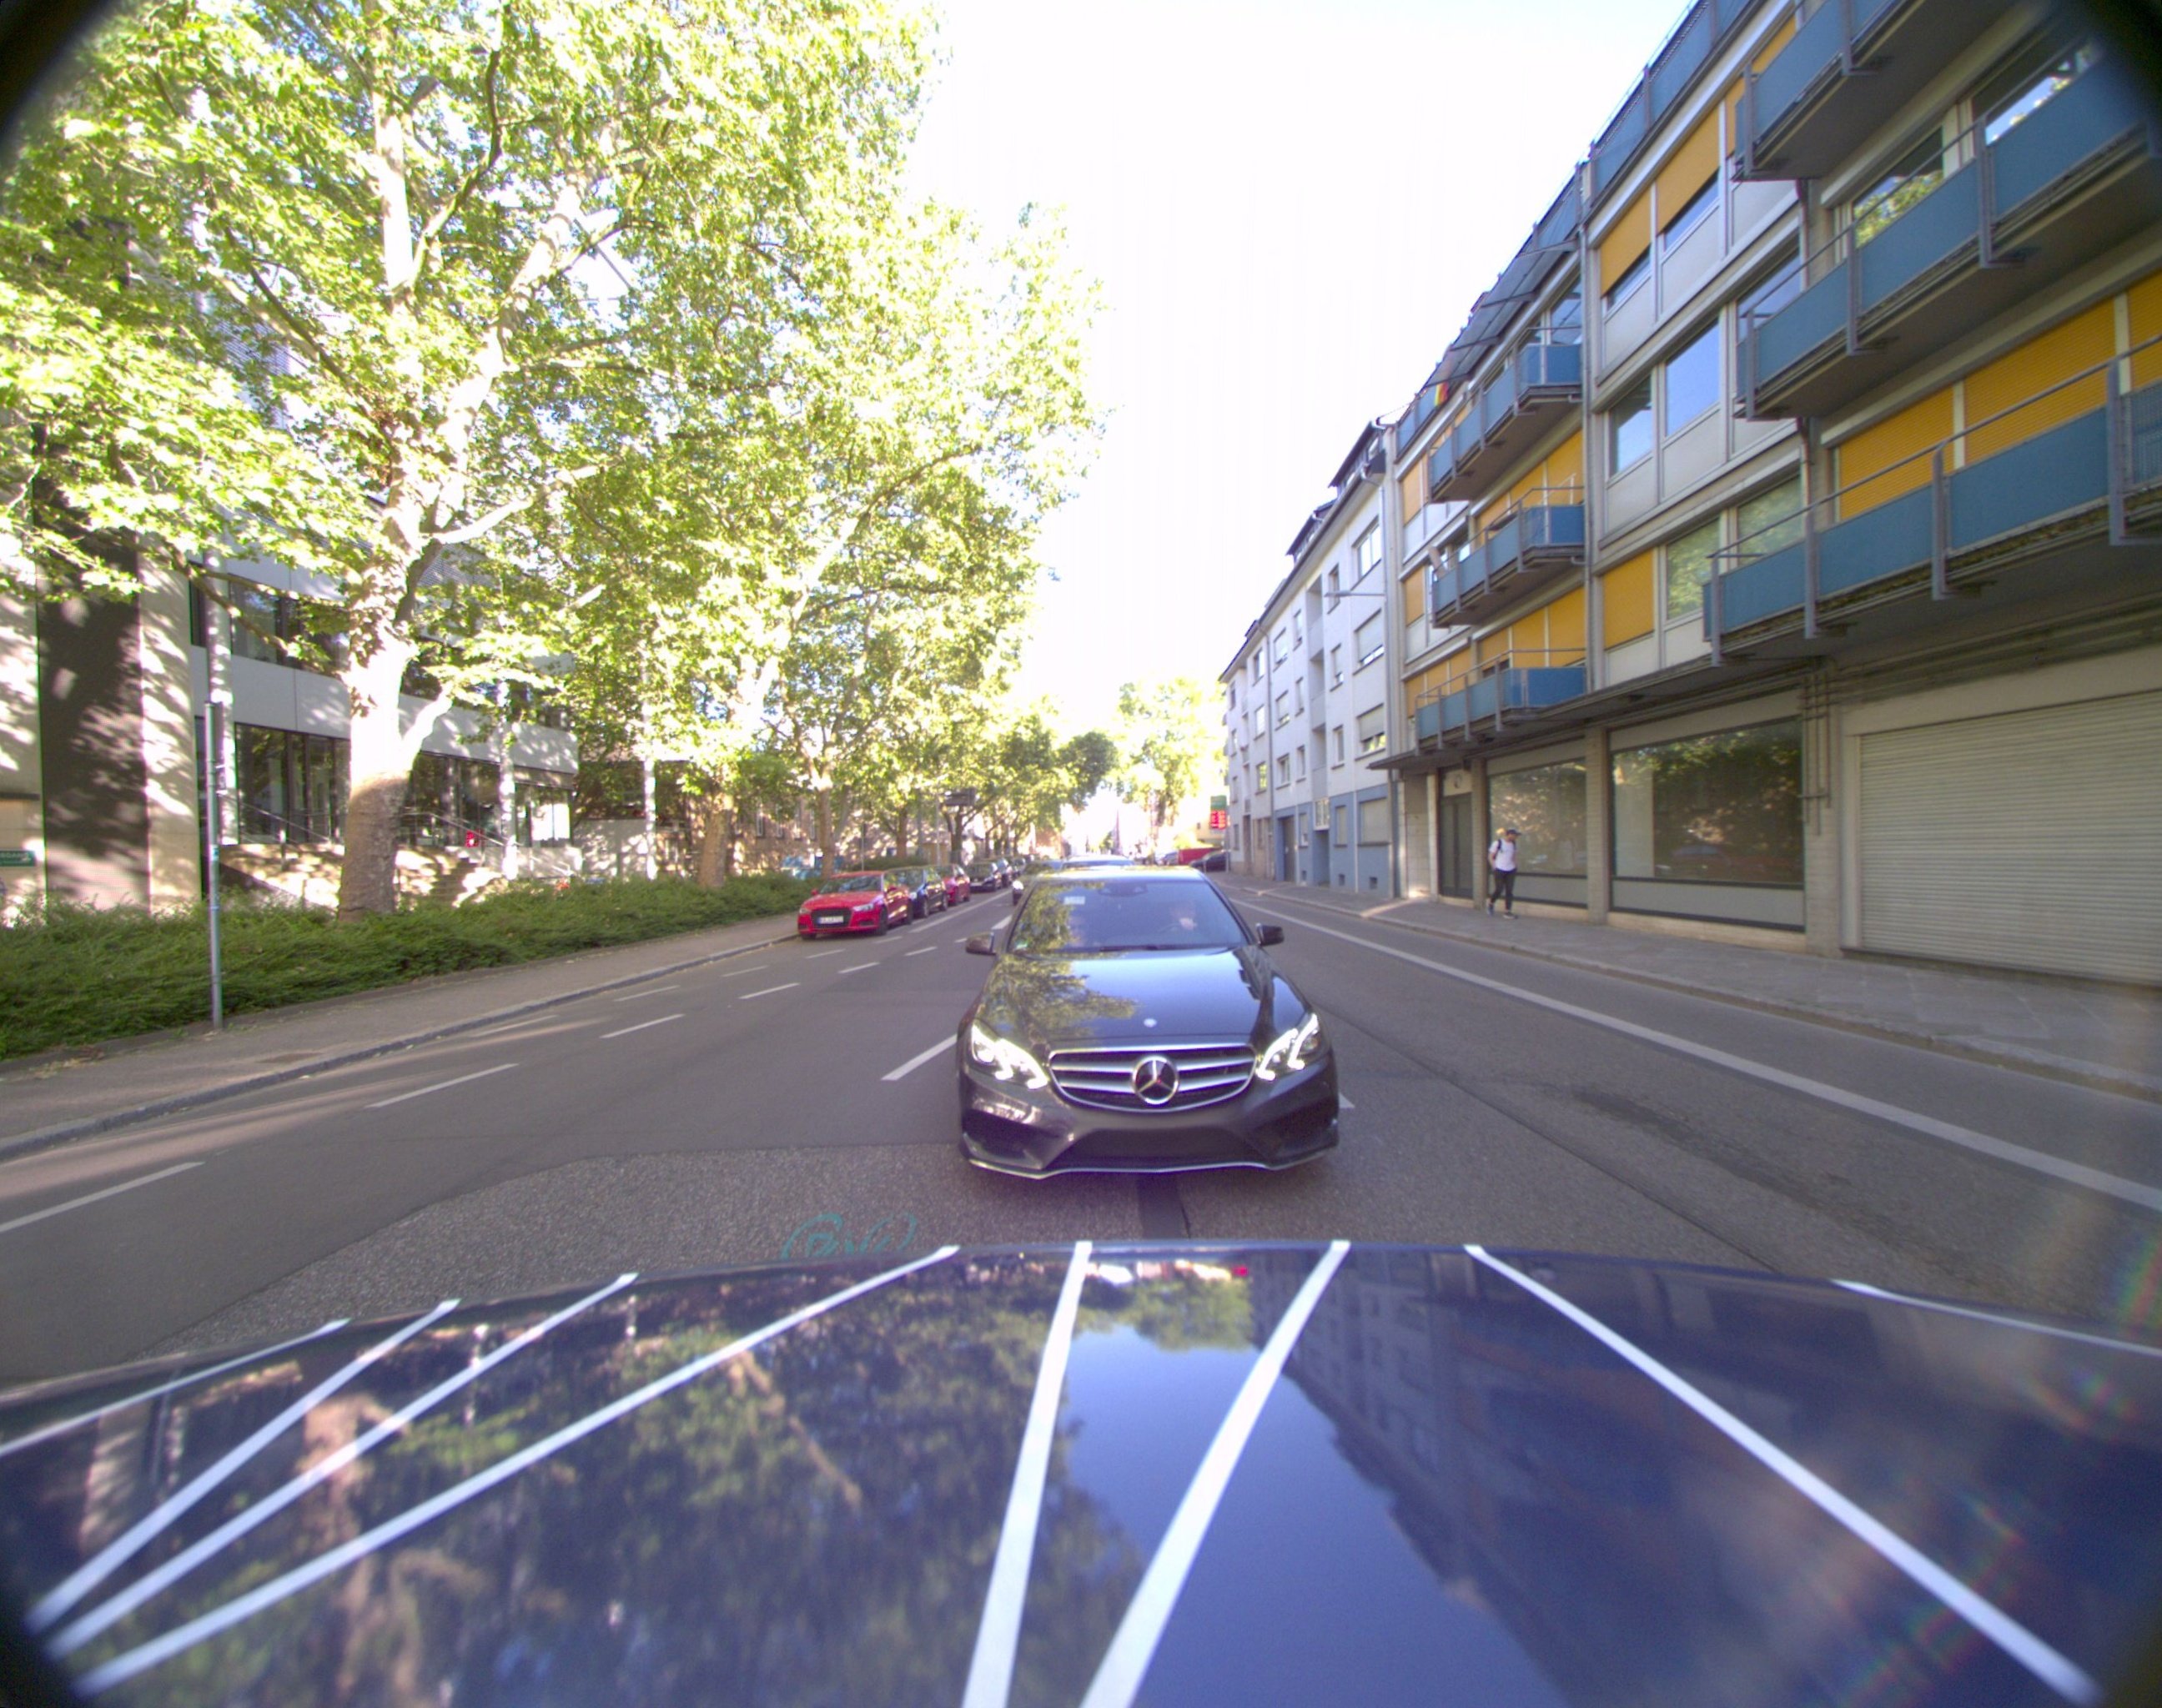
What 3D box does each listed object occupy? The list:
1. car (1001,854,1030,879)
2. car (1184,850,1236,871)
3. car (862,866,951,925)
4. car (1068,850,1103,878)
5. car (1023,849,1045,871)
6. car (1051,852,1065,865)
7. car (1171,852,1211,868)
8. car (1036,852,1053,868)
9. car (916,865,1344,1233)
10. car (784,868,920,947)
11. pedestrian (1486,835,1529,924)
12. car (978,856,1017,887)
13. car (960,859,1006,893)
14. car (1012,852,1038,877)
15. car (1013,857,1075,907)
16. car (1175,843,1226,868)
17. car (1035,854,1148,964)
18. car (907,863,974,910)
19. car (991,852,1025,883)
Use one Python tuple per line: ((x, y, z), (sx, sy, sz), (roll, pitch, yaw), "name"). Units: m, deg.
((-4.664, 0.836, 54.672), (1.635, 1.644, 3.845), (-3, 0, 1), "car")
((9.916, 0.458, 58.681), (3.670, 1.403, 1.636), (-3, 0, 0), "car")
((-5.012, 1.145, 22.341), (1.635, 1.455, 3.740), (-3, 0, 1), "car")
((0.271, 0.550, 44.289), (1.829, 1.455, 4.098), (-3, 0, 1), "car")
((-4.347, 0.552, 70.559), (1.635, 1.878, 3.673), (-3, 0, 1), "car")
((-3.228, 0.647, 106.729), (1.635, 1.713, 3.673), (-3, 0, 1), "car")
((9.621, 0.516, 66.623), (3.325, 1.241, 1.295), (-3, 1, 0), "car")
((-4.138, 0.648, 86.000), (1.635, 1.713, 3.673), (-3, 0, 1), "car")
((0.237, 0.890, 5.395), (1.804, 1.455, 4.125), (-3, 0, 1), "car")
((-5.155, 1.144, 17.731), (1.804, 1.455, 4.125), (-3, 0, 1), "car")
((8.391, 0.495, 14.959), (0.569, 1.716, 0.343), (-3, 1, 0), "pedestrian")
((-4.589, 0.932, 42.117), (1.635, 1.578, 3.845), (-3, 0, 1), "car")
((-4.742, 1.048, 37.155), (1.635, 1.455, 3.740), (-3, 0, 1), "car")
((-4.308, 0.760, 59.357), (1.635, 1.799, 3.673), (-3, 0, 1), "car")
((-1.200, 0.911, 26.472), (1.853, 1.455, 4.098), (-3, 0, 1), "car")
((10.018, 0.137, 63.933), (3.928, 1.912, 1.636), (-3, 1, 0), "car")
((0.184, 0.856, 13.903), (1.680, 1.622, 4.125), (-3, 0, 1), "car")
((-5.019, 1.113, 27.556), (1.635, 1.455, 3.740), (-3, 0, 1), "car")
((-4.554, 0.793, 47.931), (1.635, 1.795, 3.845), (-3, 0, 1), "car")
